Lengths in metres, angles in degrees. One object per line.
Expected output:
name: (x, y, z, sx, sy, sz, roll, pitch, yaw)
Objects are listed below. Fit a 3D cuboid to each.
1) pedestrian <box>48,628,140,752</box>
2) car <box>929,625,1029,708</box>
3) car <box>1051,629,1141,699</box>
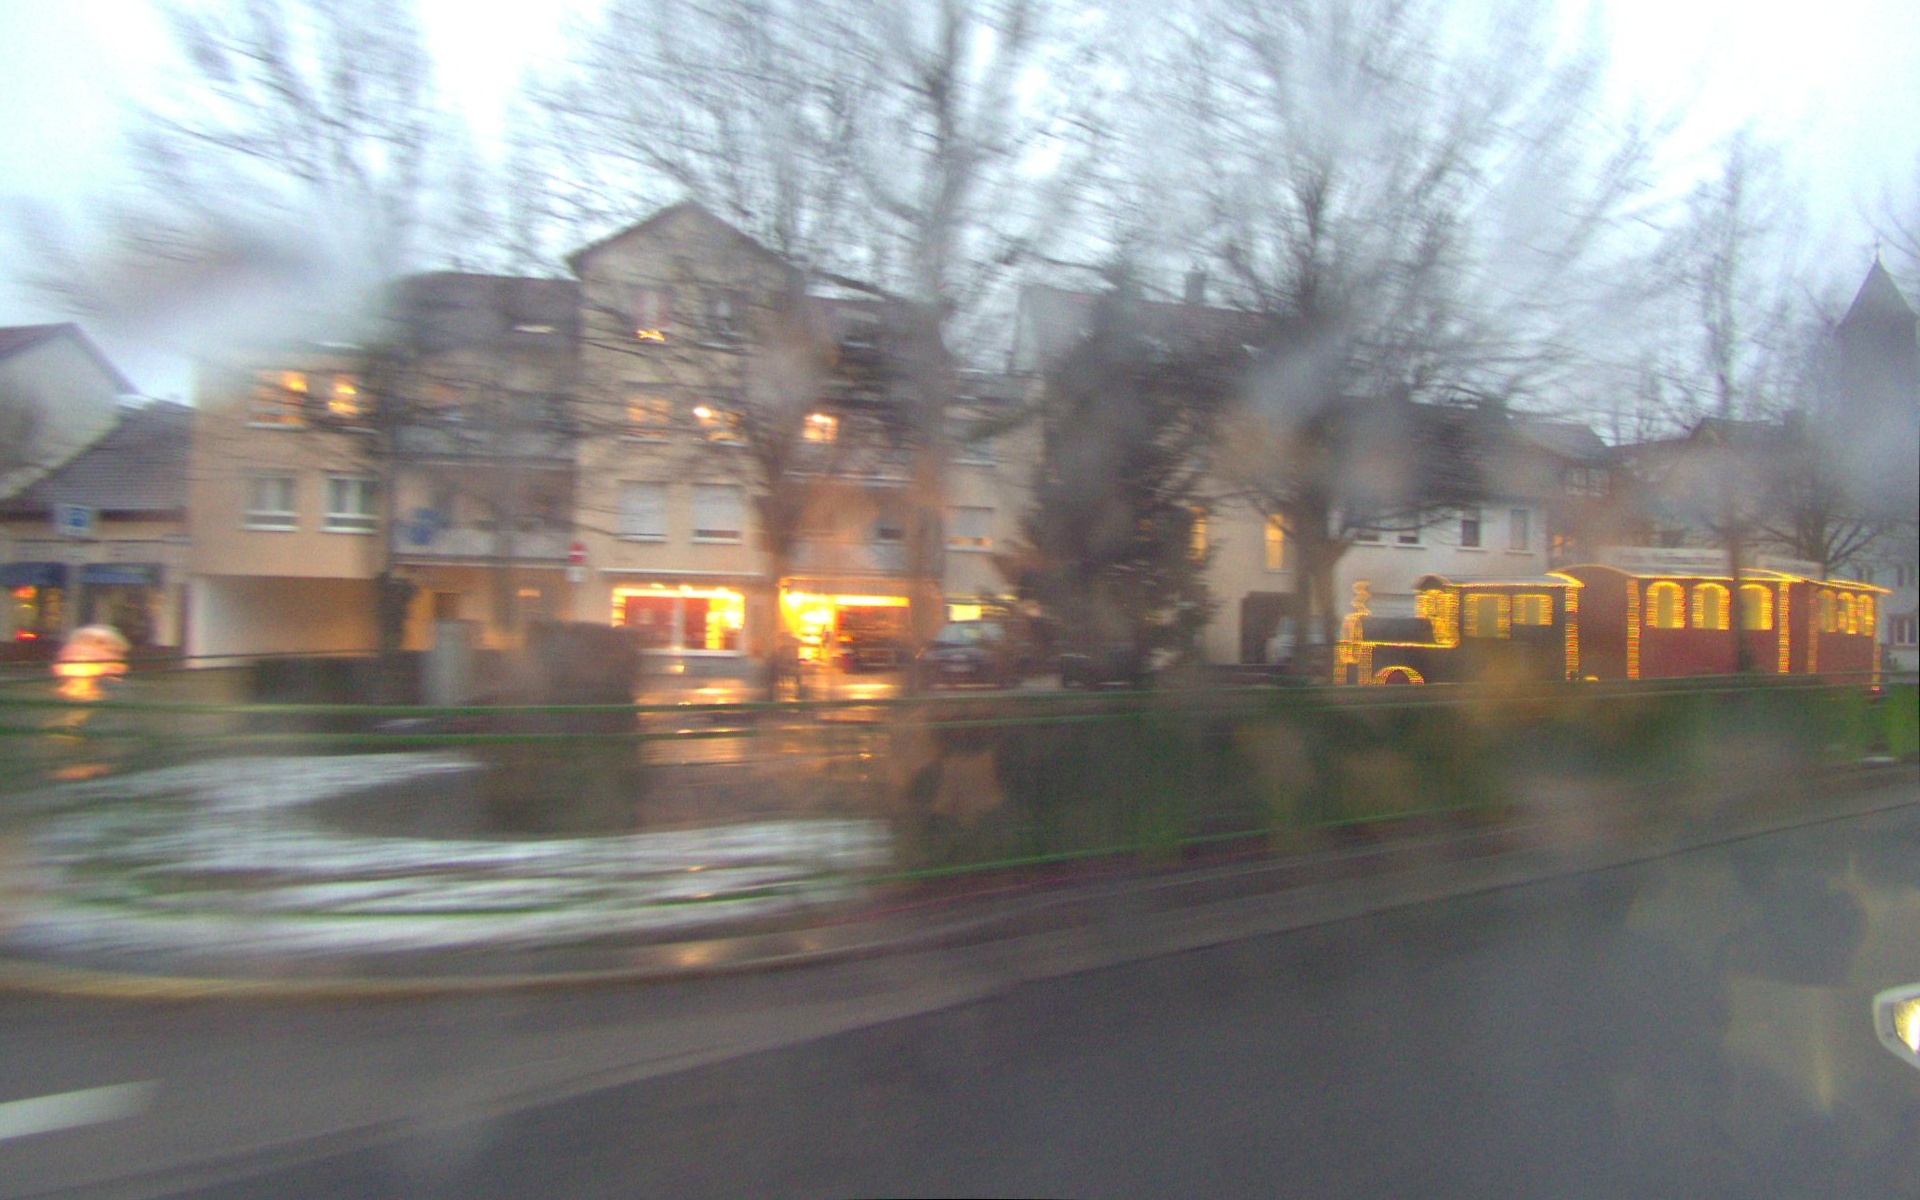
pedestrian: (-9.864, 1.008, 11.462, 0.558, 1.357, 0.619, 1, 0, -16)
car: (0.427, 1.318, 21.077, 1.884, 1.528, 4.001, 0, -1, 2)
car: (2.859, 1.324, 21.655, 1.582, 1.346, 3.327, 0, -1, 2)
